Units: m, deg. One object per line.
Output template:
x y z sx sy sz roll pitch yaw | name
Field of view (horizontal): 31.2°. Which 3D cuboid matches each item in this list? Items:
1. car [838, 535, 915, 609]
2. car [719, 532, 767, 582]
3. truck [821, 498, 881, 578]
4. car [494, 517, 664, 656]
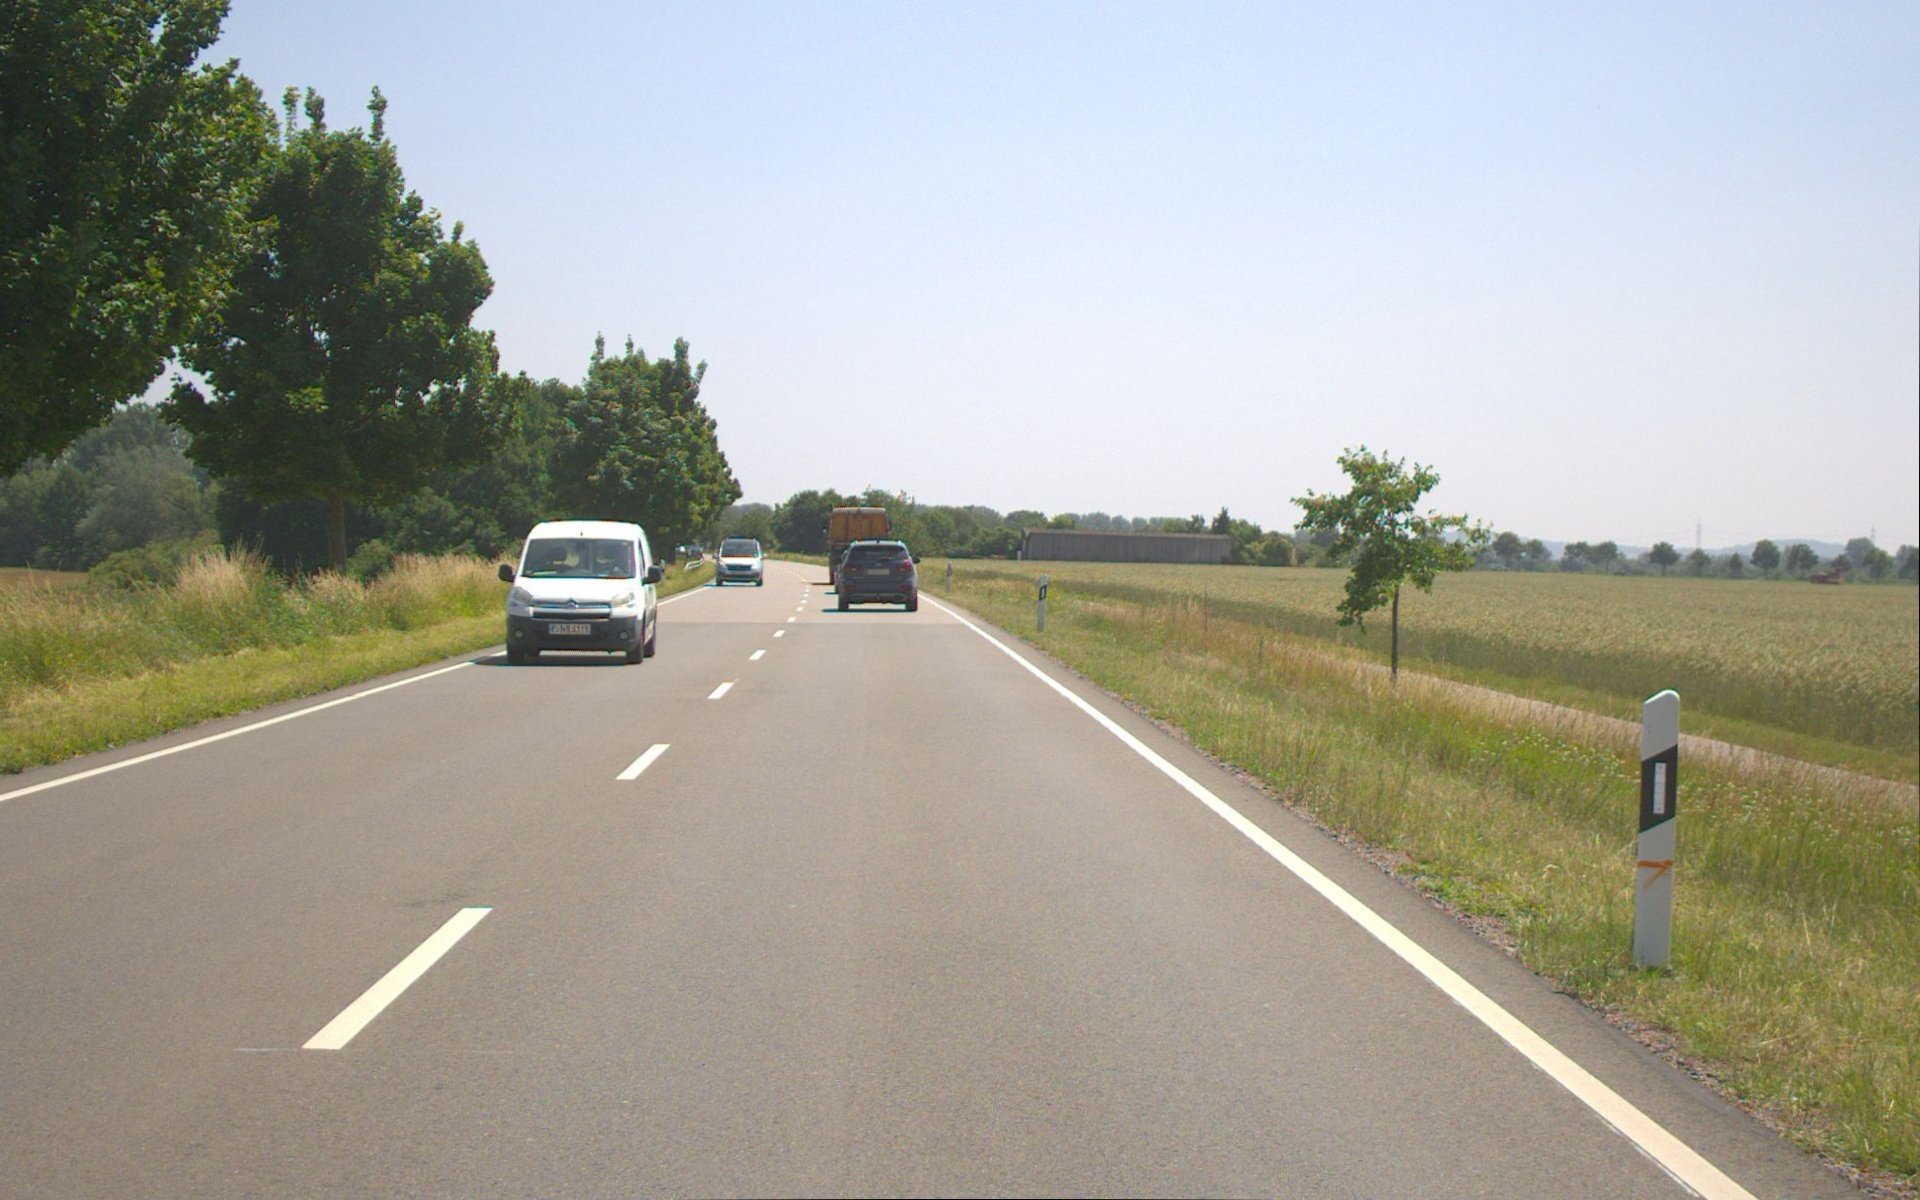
-1.974 -0.676 82.262 1.714 1.688 3.989 1 1 0 | car
-8.295 -1.641 131.591 1.725 1.834 4.000 1 1 -3 | car
-4.460 -2.512 141.287 2.370 3.129 8.748 1 1 -2 | truck
-4.956 -0.194 45.183 1.787 1.722 4.304 1 1 -1 | car
